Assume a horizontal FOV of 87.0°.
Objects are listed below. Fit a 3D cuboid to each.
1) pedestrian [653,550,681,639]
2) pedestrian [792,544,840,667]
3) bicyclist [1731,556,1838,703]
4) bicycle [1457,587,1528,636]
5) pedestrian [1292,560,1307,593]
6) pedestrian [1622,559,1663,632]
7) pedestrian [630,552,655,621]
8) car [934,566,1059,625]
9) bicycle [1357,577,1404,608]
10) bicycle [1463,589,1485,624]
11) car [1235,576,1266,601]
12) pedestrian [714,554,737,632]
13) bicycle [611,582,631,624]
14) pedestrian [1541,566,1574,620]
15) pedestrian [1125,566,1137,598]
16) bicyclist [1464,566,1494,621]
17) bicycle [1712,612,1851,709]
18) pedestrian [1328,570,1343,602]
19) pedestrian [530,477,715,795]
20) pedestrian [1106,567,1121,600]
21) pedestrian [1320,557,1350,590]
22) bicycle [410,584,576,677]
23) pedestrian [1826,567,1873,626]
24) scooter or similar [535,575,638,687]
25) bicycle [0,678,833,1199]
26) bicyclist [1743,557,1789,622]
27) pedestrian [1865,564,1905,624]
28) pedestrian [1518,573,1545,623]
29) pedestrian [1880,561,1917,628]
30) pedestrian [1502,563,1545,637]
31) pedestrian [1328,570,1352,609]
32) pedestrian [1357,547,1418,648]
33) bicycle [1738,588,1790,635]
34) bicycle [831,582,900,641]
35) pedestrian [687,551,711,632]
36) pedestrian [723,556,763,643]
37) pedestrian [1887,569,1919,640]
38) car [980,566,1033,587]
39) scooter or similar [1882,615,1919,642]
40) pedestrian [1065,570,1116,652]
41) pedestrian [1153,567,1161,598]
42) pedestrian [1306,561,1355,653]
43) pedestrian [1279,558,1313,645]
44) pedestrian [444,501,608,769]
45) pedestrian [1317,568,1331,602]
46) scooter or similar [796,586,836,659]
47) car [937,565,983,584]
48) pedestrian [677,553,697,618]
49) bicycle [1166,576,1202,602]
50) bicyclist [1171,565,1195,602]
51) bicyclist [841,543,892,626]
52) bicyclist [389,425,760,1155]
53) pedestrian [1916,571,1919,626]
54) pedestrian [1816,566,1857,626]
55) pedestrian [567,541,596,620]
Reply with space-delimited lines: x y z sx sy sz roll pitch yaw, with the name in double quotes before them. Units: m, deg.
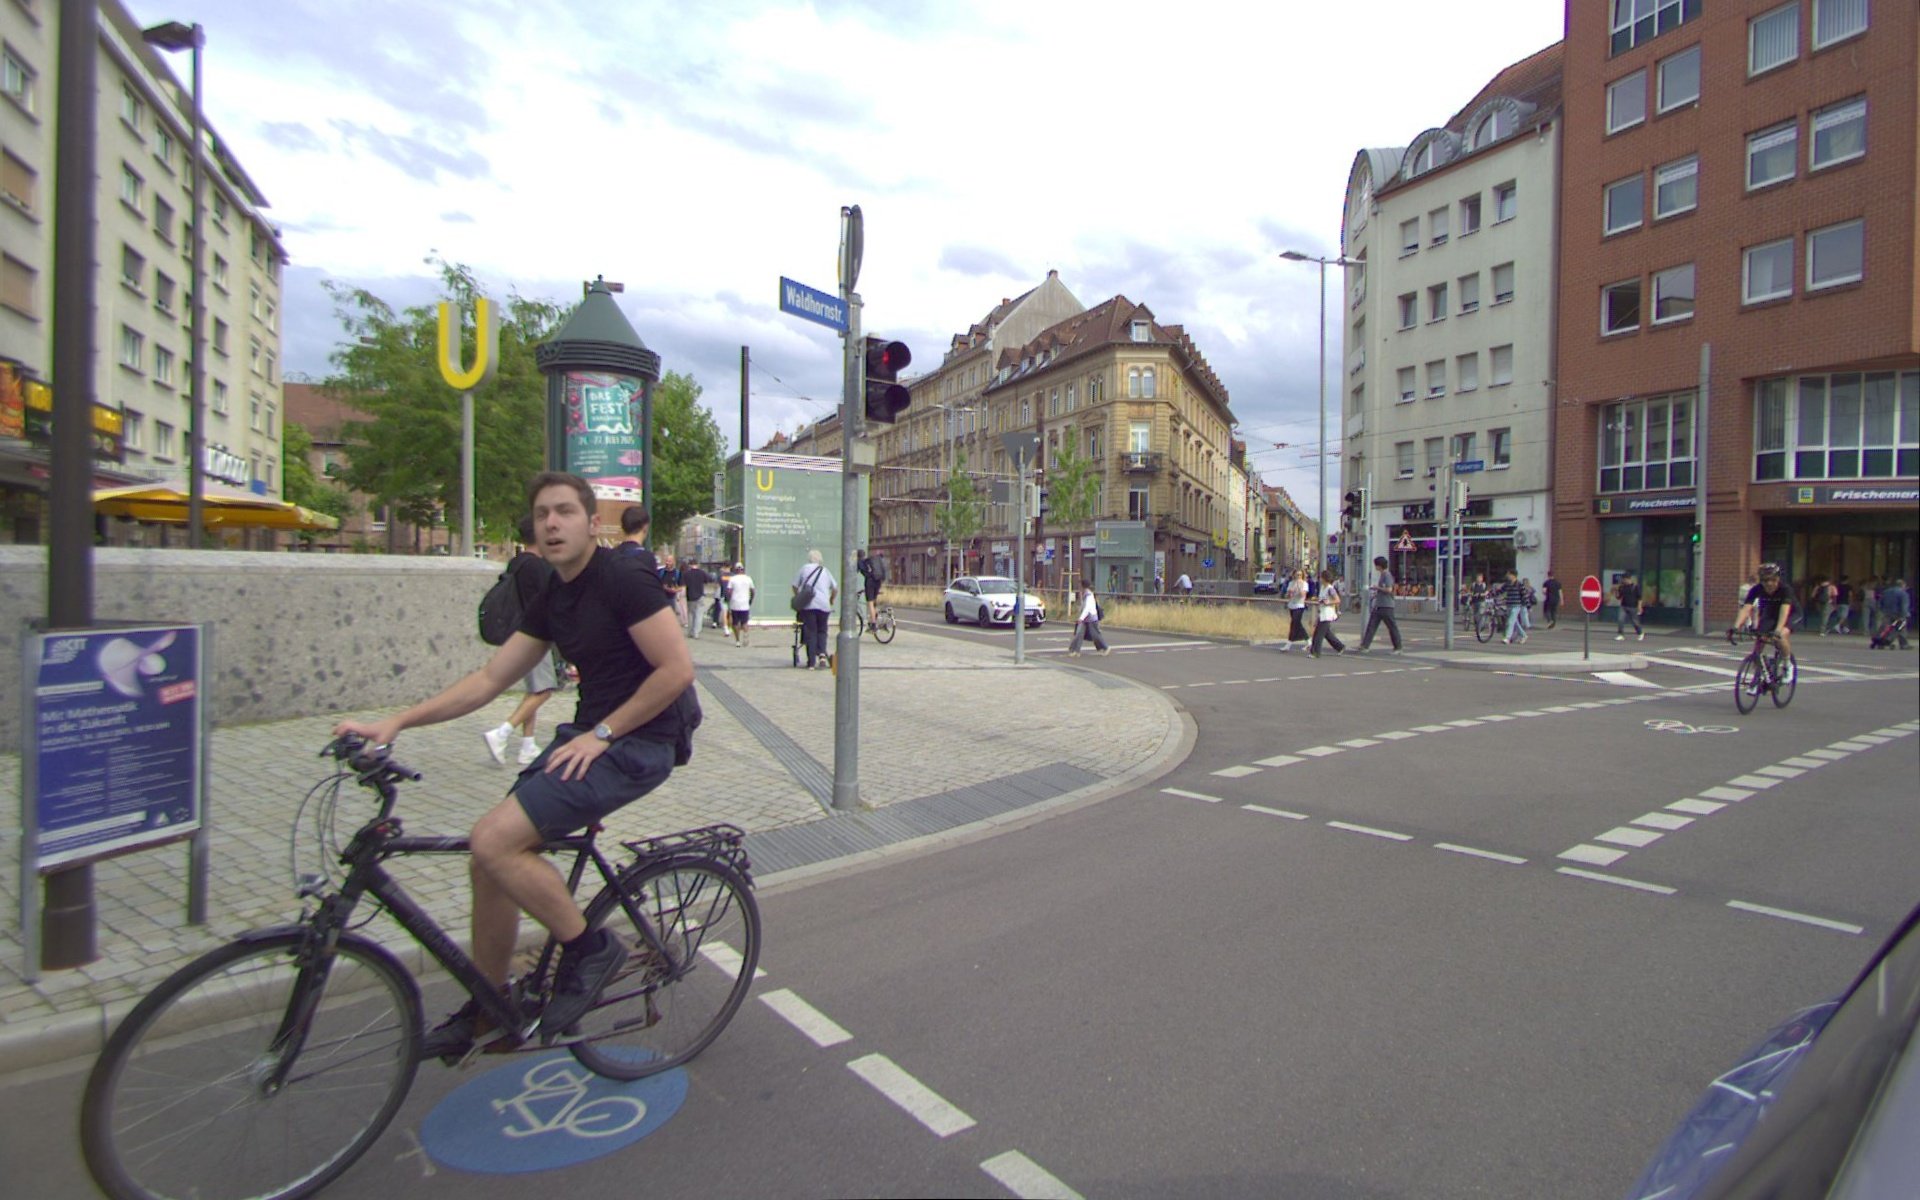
"pedestrian" -5.361 -0.111 18.503 0.406 1.596 0.823 0 1 -21
"pedestrian" -2.158 0.062 15.081 0.671 1.761 0.940 0 2 -9
"bicyclist" 9.433 0.312 11.587 0.829 1.623 0.615 -1 2 -24
"bicycle" 12.529 0.254 23.807 1.792 1.124 0.399 -1 1 -22
"pedestrian" 17.777 -1.245 53.034 0.580 1.744 0.520 0 1 -2
"pedestrian" 17.500 -0.124 25.964 0.681 1.846 0.570 0 1 -24
"pedestrian" -8.172 -0.351 26.022 0.469 1.726 0.641 1 1 -27
"car" 0.973 -0.213 29.833 1.958 1.530 4.614 -2 3 -22
"bicycle" 17.188 -0.319 41.429 0.532 1.219 1.808 0 2 -32
"bicycle" 15.152 0.188 29.816 0.538 0.962 1.790 1 2 27
"car" 19.269 -0.802 67.041 1.675 1.606 3.636 1 2 20
"pedestrian" -5.357 -0.166 23.090 0.406 1.758 0.596 0 1 -23
"bicycle" -8.582 0.068 25.626 0.284 1.008 1.142 -1 2 -28
"pedestrian" 18.647 -0.218 31.573 0.696 1.668 0.718 0 1 15
"pedestrian" 9.238 -0.982 54.720 0.504 1.705 0.425 0 1 -22
"bicyclist" 15.255 -0.205 29.749 0.739 1.578 0.937 1 1 28
"bicycle" 9.446 0.671 11.631 1.711 1.013 0.490 -1 2 -24
"pedestrian" 19.626 -0.754 52.910 0.572 1.656 0.545 0 1 -2
"pedestrian" -2.296 0.205 6.981 0.711 1.995 1.009 3 2 17
"pedestrian" 8.204 -0.897 54.208 0.594 1.705 0.733 -3 1 1
"pedestrian" 21.647 -1.529 58.440 1.109 1.851 1.166 -1 2 -32
"bicycle" -5.985 0.354 12.913 2.425 1.026 0.540 3 3 27
"pedestrian" 26.692 -0.120 30.379 1.034 1.735 0.650 -1 1 -23
"scooter or similar" -4.312 0.333 11.728 0.285 1.227 1.108 1 2 44
"bicycle" -1.310 0.885 2.795 1.982 1.136 0.406 -3 2 -40
"bicyclist" 21.787 -0.286 27.361 0.845 1.730 0.644 -1 1 -26
"pedestrian" 27.013 -0.181 29.546 0.637 1.709 0.650 -2 2 -23
"pedestrian" 17.918 -0.067 31.730 0.584 1.530 0.627 0 1 15
"pedestrian" 26.011 -0.159 28.040 0.549 1.820 0.544 0 1 -23
"pedestrian" 13.101 -0.016 23.543 0.711 1.707 0.522 0 1 -22
"pedestrian" 15.855 -0.445 42.231 0.704 1.647 0.792 0 1 5
"pedestrian" 8.156 -0.052 19.323 0.859 1.877 0.642 0 1 -23
"bicycle" 21.803 0.293 27.441 2.036 1.135 0.392 -3 3 -31
"bicycle" -2.039 0.223 21.545 0.385 1.135 1.917 -1 3 -42
"pedestrian" -5.770 -0.205 22.366 0.406 1.758 0.703 0 1 -23
"pedestrian" -4.410 -0.016 20.519 0.614 1.701 0.807 -1 0 -24
"pedestrian" 23.386 0.101 24.896 0.587 1.708 0.642 0 1 -23
"car" 2.999 -1.572 66.412 1.799 1.282 4.162 -1 2 -24
"scooter or similar" 22.751 0.685 24.437 0.799 0.581 0.509 -1 2 -30
"pedestrian" 2.534 0.198 19.624 0.832 1.519 0.552 -3 3 -39
"pedestrian" 10.842 -0.962 55.595 0.418 1.705 0.514 1 1 10
"pedestrian" 6.987 0.111 19.088 0.780 1.706 0.470 -1 1 -28
"pedestrian" 6.762 0.018 20.366 0.627 1.716 0.702 1 1 19
"pedestrian" -3.174 0.224 7.459 0.667 1.822 0.882 3 2 15
"pedestrian" 18.912 -0.799 52.561 0.531 1.744 0.520 0 1 -2
"scooter or similar" -2.268 0.344 15.904 0.596 1.124 0.703 0 1 -10
"car" -0.032 -1.873 73.777 1.799 1.282 4.162 -1 2 -24
"pedestrian" -7.157 -0.386 26.529 0.430 1.661 0.680 0 1 -23
"bicycle" 9.929 -0.490 44.902 0.383 1.100 1.922 -1 2 -29
"bicyclist" 9.848 -0.754 44.755 0.630 1.623 0.864 -1 1 -30
"bicyclist" -1.979 -0.336 21.442 0.687 1.730 0.907 -1 2 -40
"bicyclist" -1.084 0.440 2.881 0.847 1.730 0.559 -1 2 -40
"pedestrian" 29.060 -0.043 30.065 0.902 1.621 0.622 0 1 -23
"pedestrian" 25.113 -0.124 29.004 0.874 1.672 0.544 0 1 -23
"pedestrian" -9.173 -0.466 24.536 0.572 1.890 0.491 1 1 -28
